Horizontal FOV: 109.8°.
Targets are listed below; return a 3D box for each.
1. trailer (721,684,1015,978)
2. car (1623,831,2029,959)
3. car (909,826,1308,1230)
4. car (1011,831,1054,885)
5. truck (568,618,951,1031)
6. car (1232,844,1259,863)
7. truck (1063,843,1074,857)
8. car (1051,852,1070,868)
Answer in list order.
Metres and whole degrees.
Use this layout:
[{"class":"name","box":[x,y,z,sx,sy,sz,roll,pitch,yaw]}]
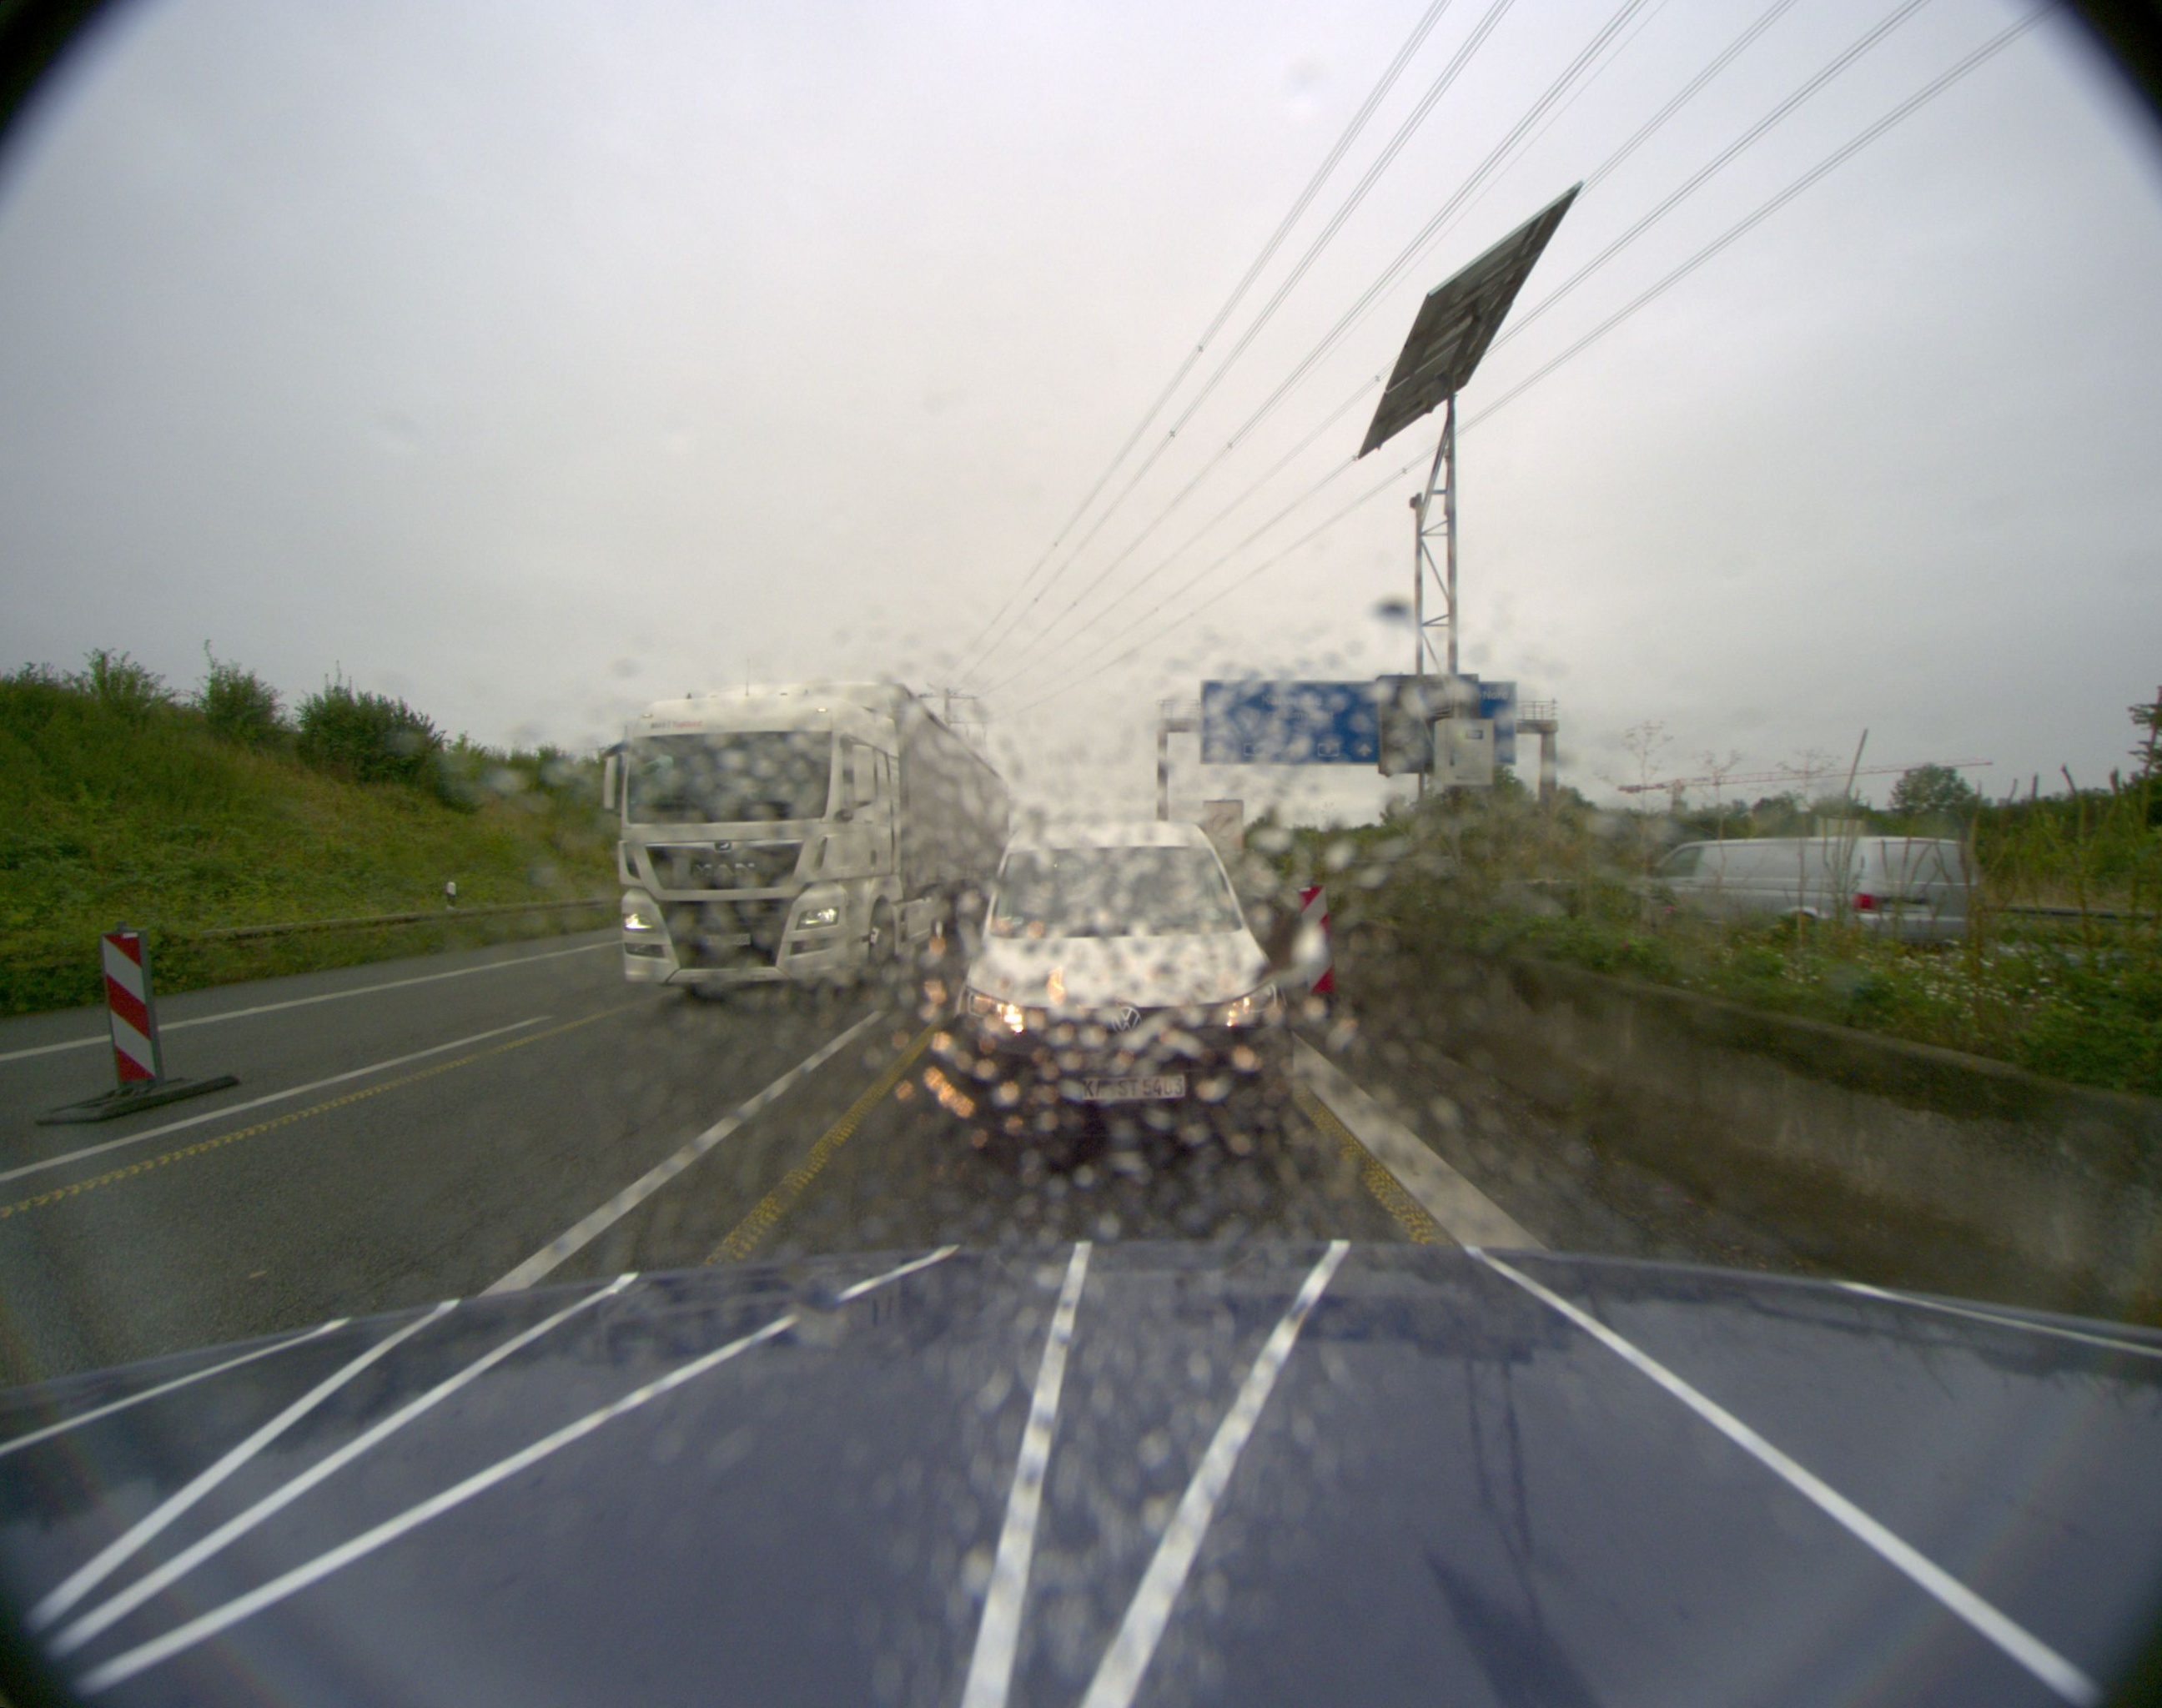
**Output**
[{"class":"trailer","box":[-3.623,-0.349,17.686,2.713,4.122,13.731,-1,0,1]},{"class":"car","box":[12.051,0.557,12.972,1.998,1.716,5.059,-1,0,1]},{"class":"car","box":[0.155,0.791,5.634,1.768,1.803,4.345,-1,0,1]},{"class":"car","box":[-2.631,0.201,42.433,1.998,2.766,5.756,-1,0,0]},{"class":"truck","box":[-3.735,-0.298,10.543,2.713,4.114,5.690,-1,0,1]},{"class":"car","box":[18.832,-0.081,87.261,1.998,2.002,5.059,-1,0,1]},{"class":"truck","box":[-3.452,-1.092,216.348,2.875,4.007,8.309,-1,0,1]},{"class":"car","box":[-2.019,0.567,76.485,1.804,1.523,4.149,-1,0,-1]}]
